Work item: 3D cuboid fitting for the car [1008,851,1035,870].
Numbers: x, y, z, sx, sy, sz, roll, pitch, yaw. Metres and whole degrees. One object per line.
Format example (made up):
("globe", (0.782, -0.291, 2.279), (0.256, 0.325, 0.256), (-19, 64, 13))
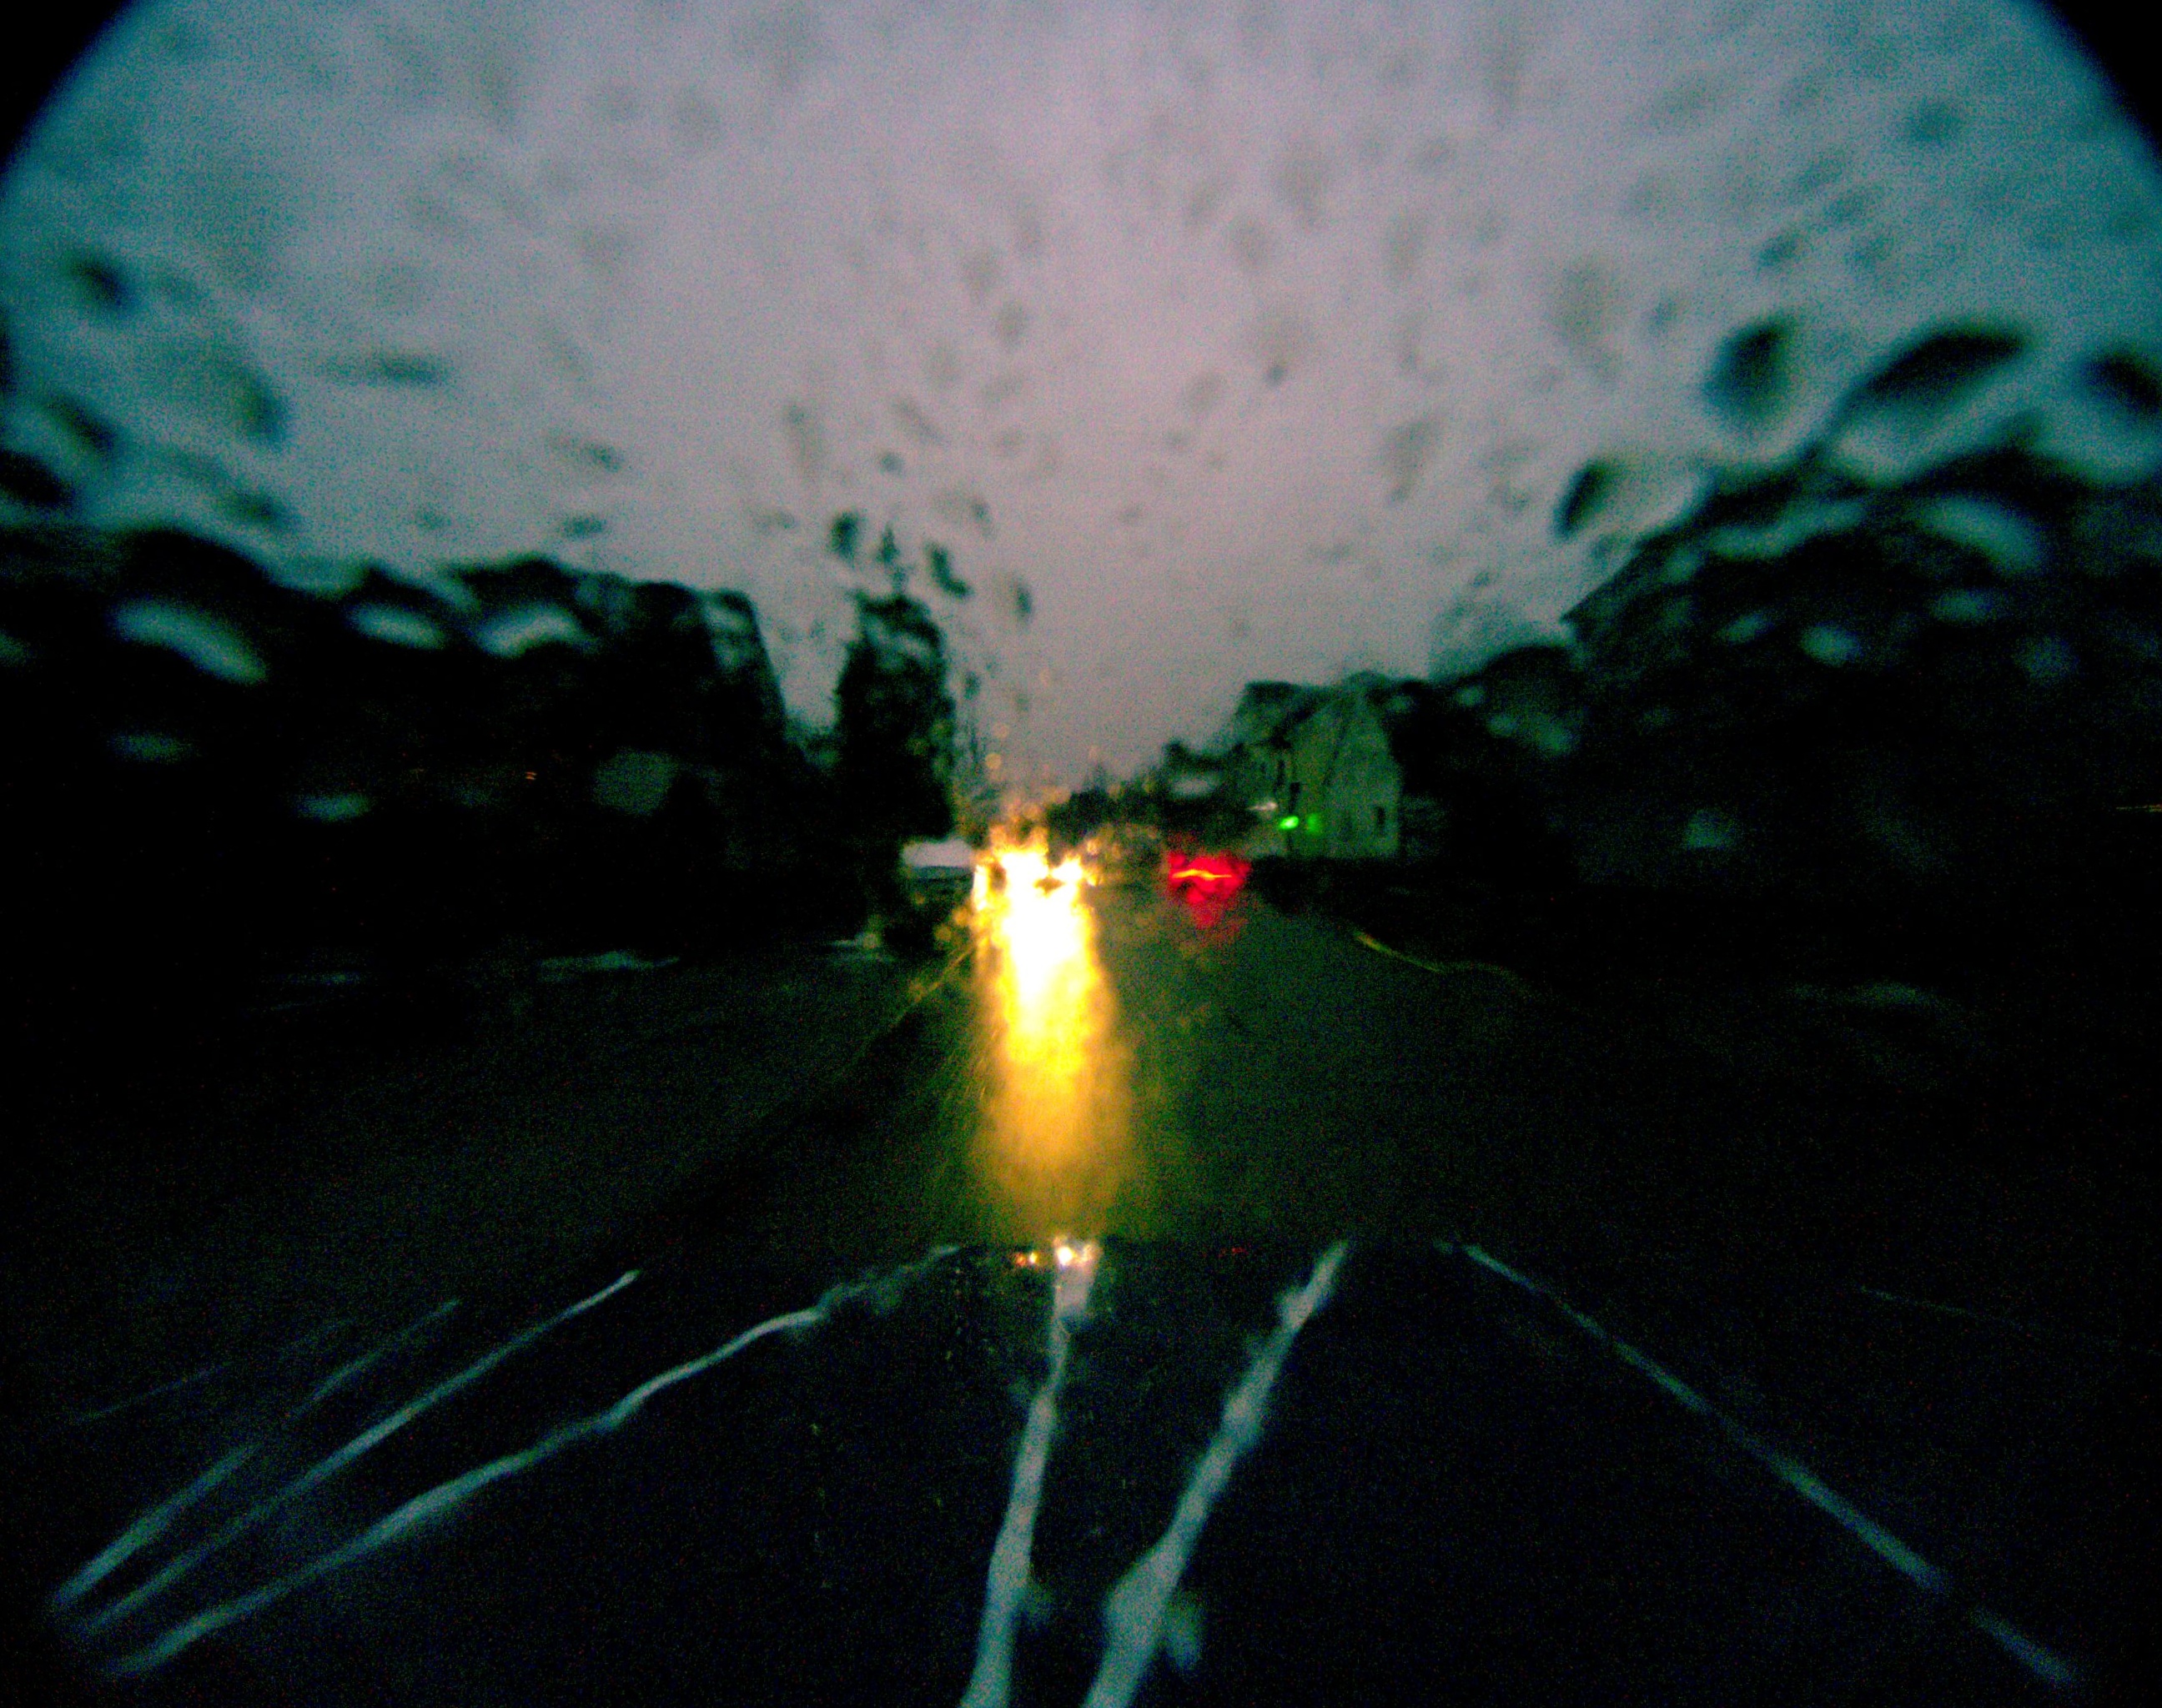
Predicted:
("car", (-5.610, 0.572, 71.501), (2.000, 1.660, 3.995), (-1, 1, -11))

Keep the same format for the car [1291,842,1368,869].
("car", (15.154, 0.061, 46.428), (4.000, 1.591, 1.920), (0, 1, -9))

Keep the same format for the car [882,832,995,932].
("car", (-3.270, 0.573, 18.576), (1.983, 2.002, 5.743), (2, 0, -4))

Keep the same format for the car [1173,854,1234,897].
("car", (4.612, 0.756, 29.173), (1.911, 1.479, 4.569), (-1, 0, 4))

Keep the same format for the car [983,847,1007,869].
("car", (-6.507, 0.269, 57.519), (1.654, 1.531, 3.388), (3, 0, -7))

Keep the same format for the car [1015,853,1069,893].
("car", (-1.726, 0.761, 32.176), (2.000, 1.575, 3.997), (0, 0, -7))
